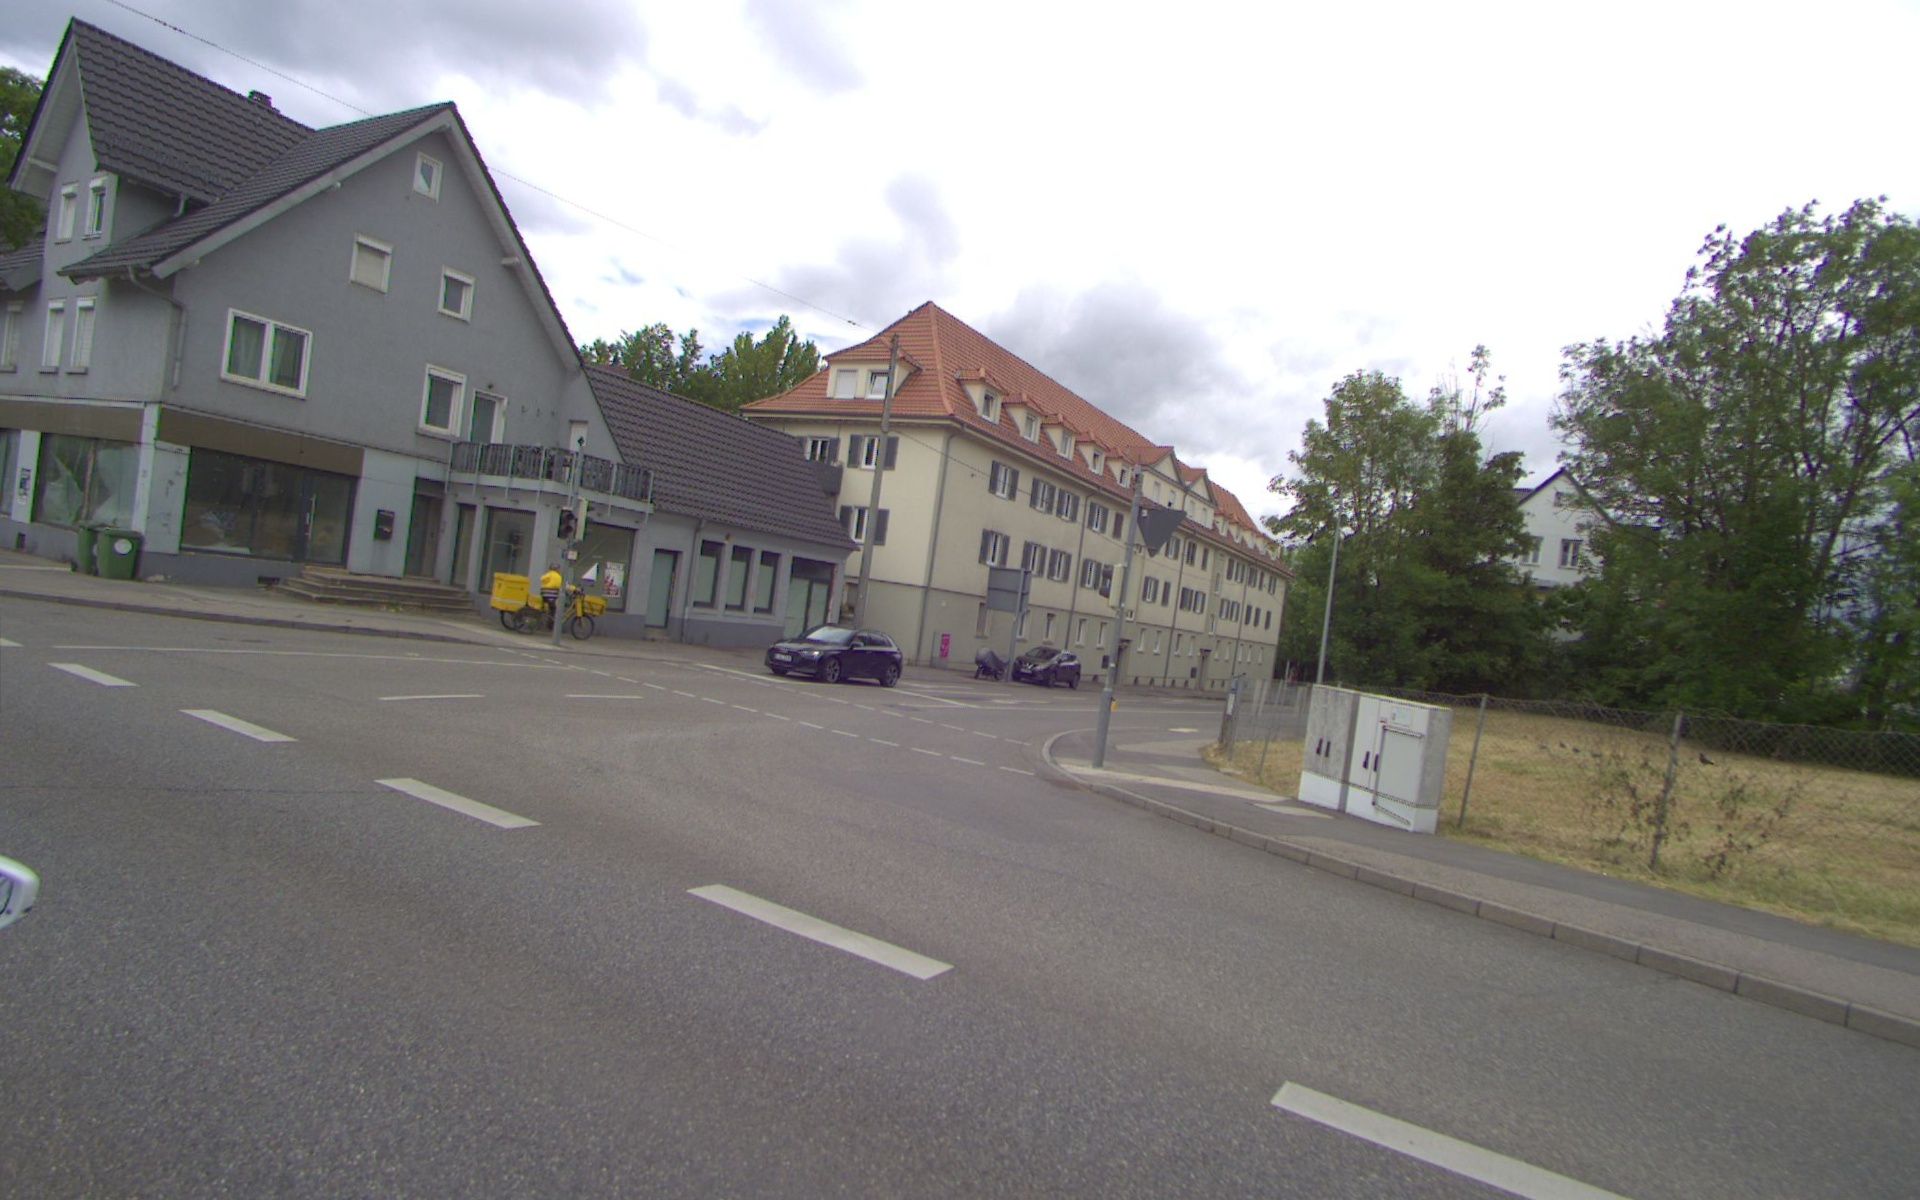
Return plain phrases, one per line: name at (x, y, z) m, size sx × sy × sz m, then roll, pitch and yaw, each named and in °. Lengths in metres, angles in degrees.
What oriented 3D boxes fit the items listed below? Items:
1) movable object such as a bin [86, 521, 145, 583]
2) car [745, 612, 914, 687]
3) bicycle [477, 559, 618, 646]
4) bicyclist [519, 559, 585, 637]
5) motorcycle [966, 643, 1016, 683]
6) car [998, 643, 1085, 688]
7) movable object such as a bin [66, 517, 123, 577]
movable object such as a bin at (-16.978, -0.963, 20.223) m, size 0.698 × 1.117 × 0.627 m, roll 7°, pitch 0°, yaw 30°
car at (-3.202, 1.316, 25.557) m, size 1.876 × 1.438 × 4.352 m, roll 7°, pitch -2°, yaw 30°
bicycle at (-9.421, 0.083, 23.097) m, size 0.949 × 1.526 × 2.675 m, roll 11°, pitch 0°, yaw 42°
bicyclist at (-9.395, -0.049, 23.162) m, size 0.950 × 1.618 × 0.933 m, roll 9°, pitch 1°, yaw 42°
motorcycle at (1.208, 2.433, 38.536) m, size 0.674 × 1.332 × 2.309 m, roll 10°, pitch 0°, yaw 32°
car at (3.528, 2.819, 42.890) m, size 1.966 × 1.481 × 4.087 m, roll 8°, pitch -2°, yaw 31°
movable object such as a bin at (-17.679, -1.080, 20.556) m, size 0.698 × 1.117 × 0.609 m, roll 7°, pitch 0°, yaw 30°
